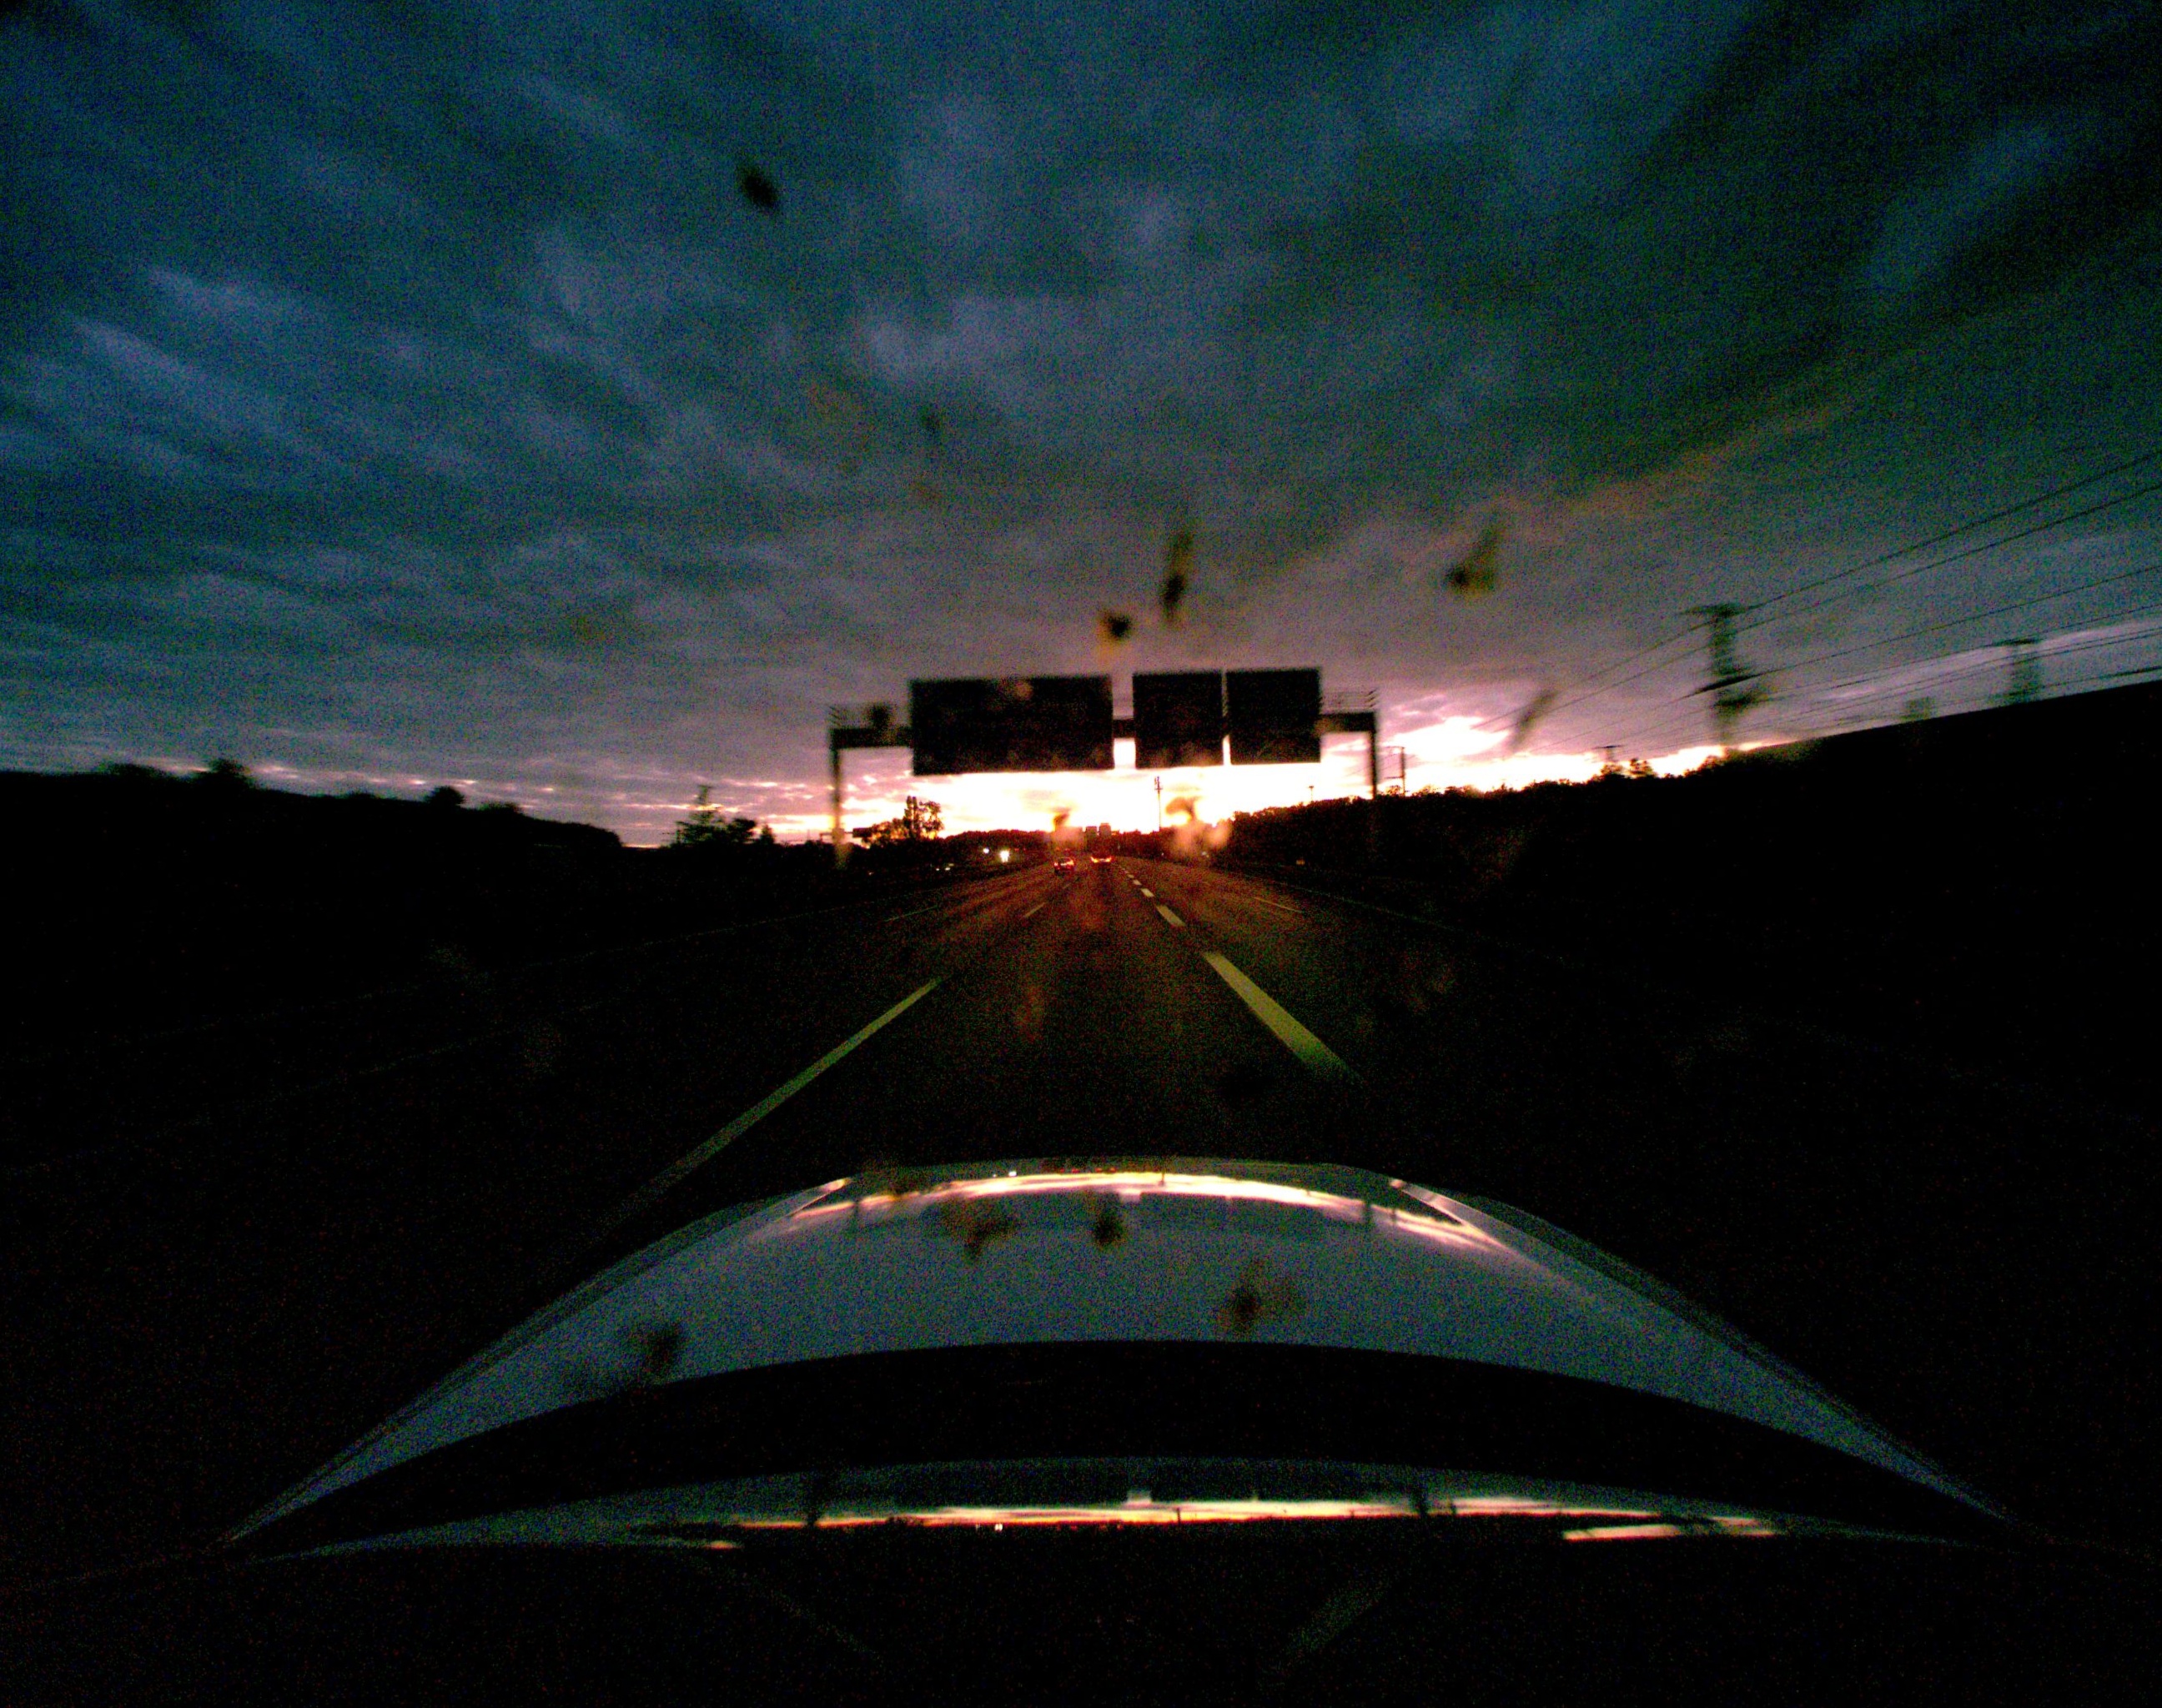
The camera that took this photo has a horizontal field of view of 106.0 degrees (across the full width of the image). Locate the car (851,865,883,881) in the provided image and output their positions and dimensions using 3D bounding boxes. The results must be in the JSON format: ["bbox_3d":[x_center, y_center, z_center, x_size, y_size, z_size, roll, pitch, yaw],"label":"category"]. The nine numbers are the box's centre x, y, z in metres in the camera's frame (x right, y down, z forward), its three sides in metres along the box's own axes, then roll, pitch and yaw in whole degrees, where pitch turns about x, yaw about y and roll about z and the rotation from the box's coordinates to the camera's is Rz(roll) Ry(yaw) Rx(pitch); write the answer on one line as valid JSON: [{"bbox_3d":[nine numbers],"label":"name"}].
[{"bbox_3d":[-19.479,1.732,74.294,1.683,1.401,4.430,0,-1,2],"label":"car"}]

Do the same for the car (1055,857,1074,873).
[{"bbox_3d":[-1.604,1.049,78.576,1.685,1.401,3.406,-4,-1,-2],"label":"car"}]

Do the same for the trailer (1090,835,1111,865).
[{"bbox_3d":[2.808,-0.604,120.242,2.713,4.070,8.830,-4,1,0],"label":"trailer"}]

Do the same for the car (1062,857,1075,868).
[{"bbox_3d":[-1.751,1.156,113.534,1.684,1.401,3.408,-4,-1,0],"label":"car"}]

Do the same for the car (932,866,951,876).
[{"bbox_3d":[-18.260,2.237,106.878,1.683,1.401,4.430,0,-1,2],"label":"car"}]

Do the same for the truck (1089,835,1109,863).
[{"bbox_3d":[2.817,-0.838,129.905,2.682,4.070,10.519,-4,1,0],"label":"truck"}]
